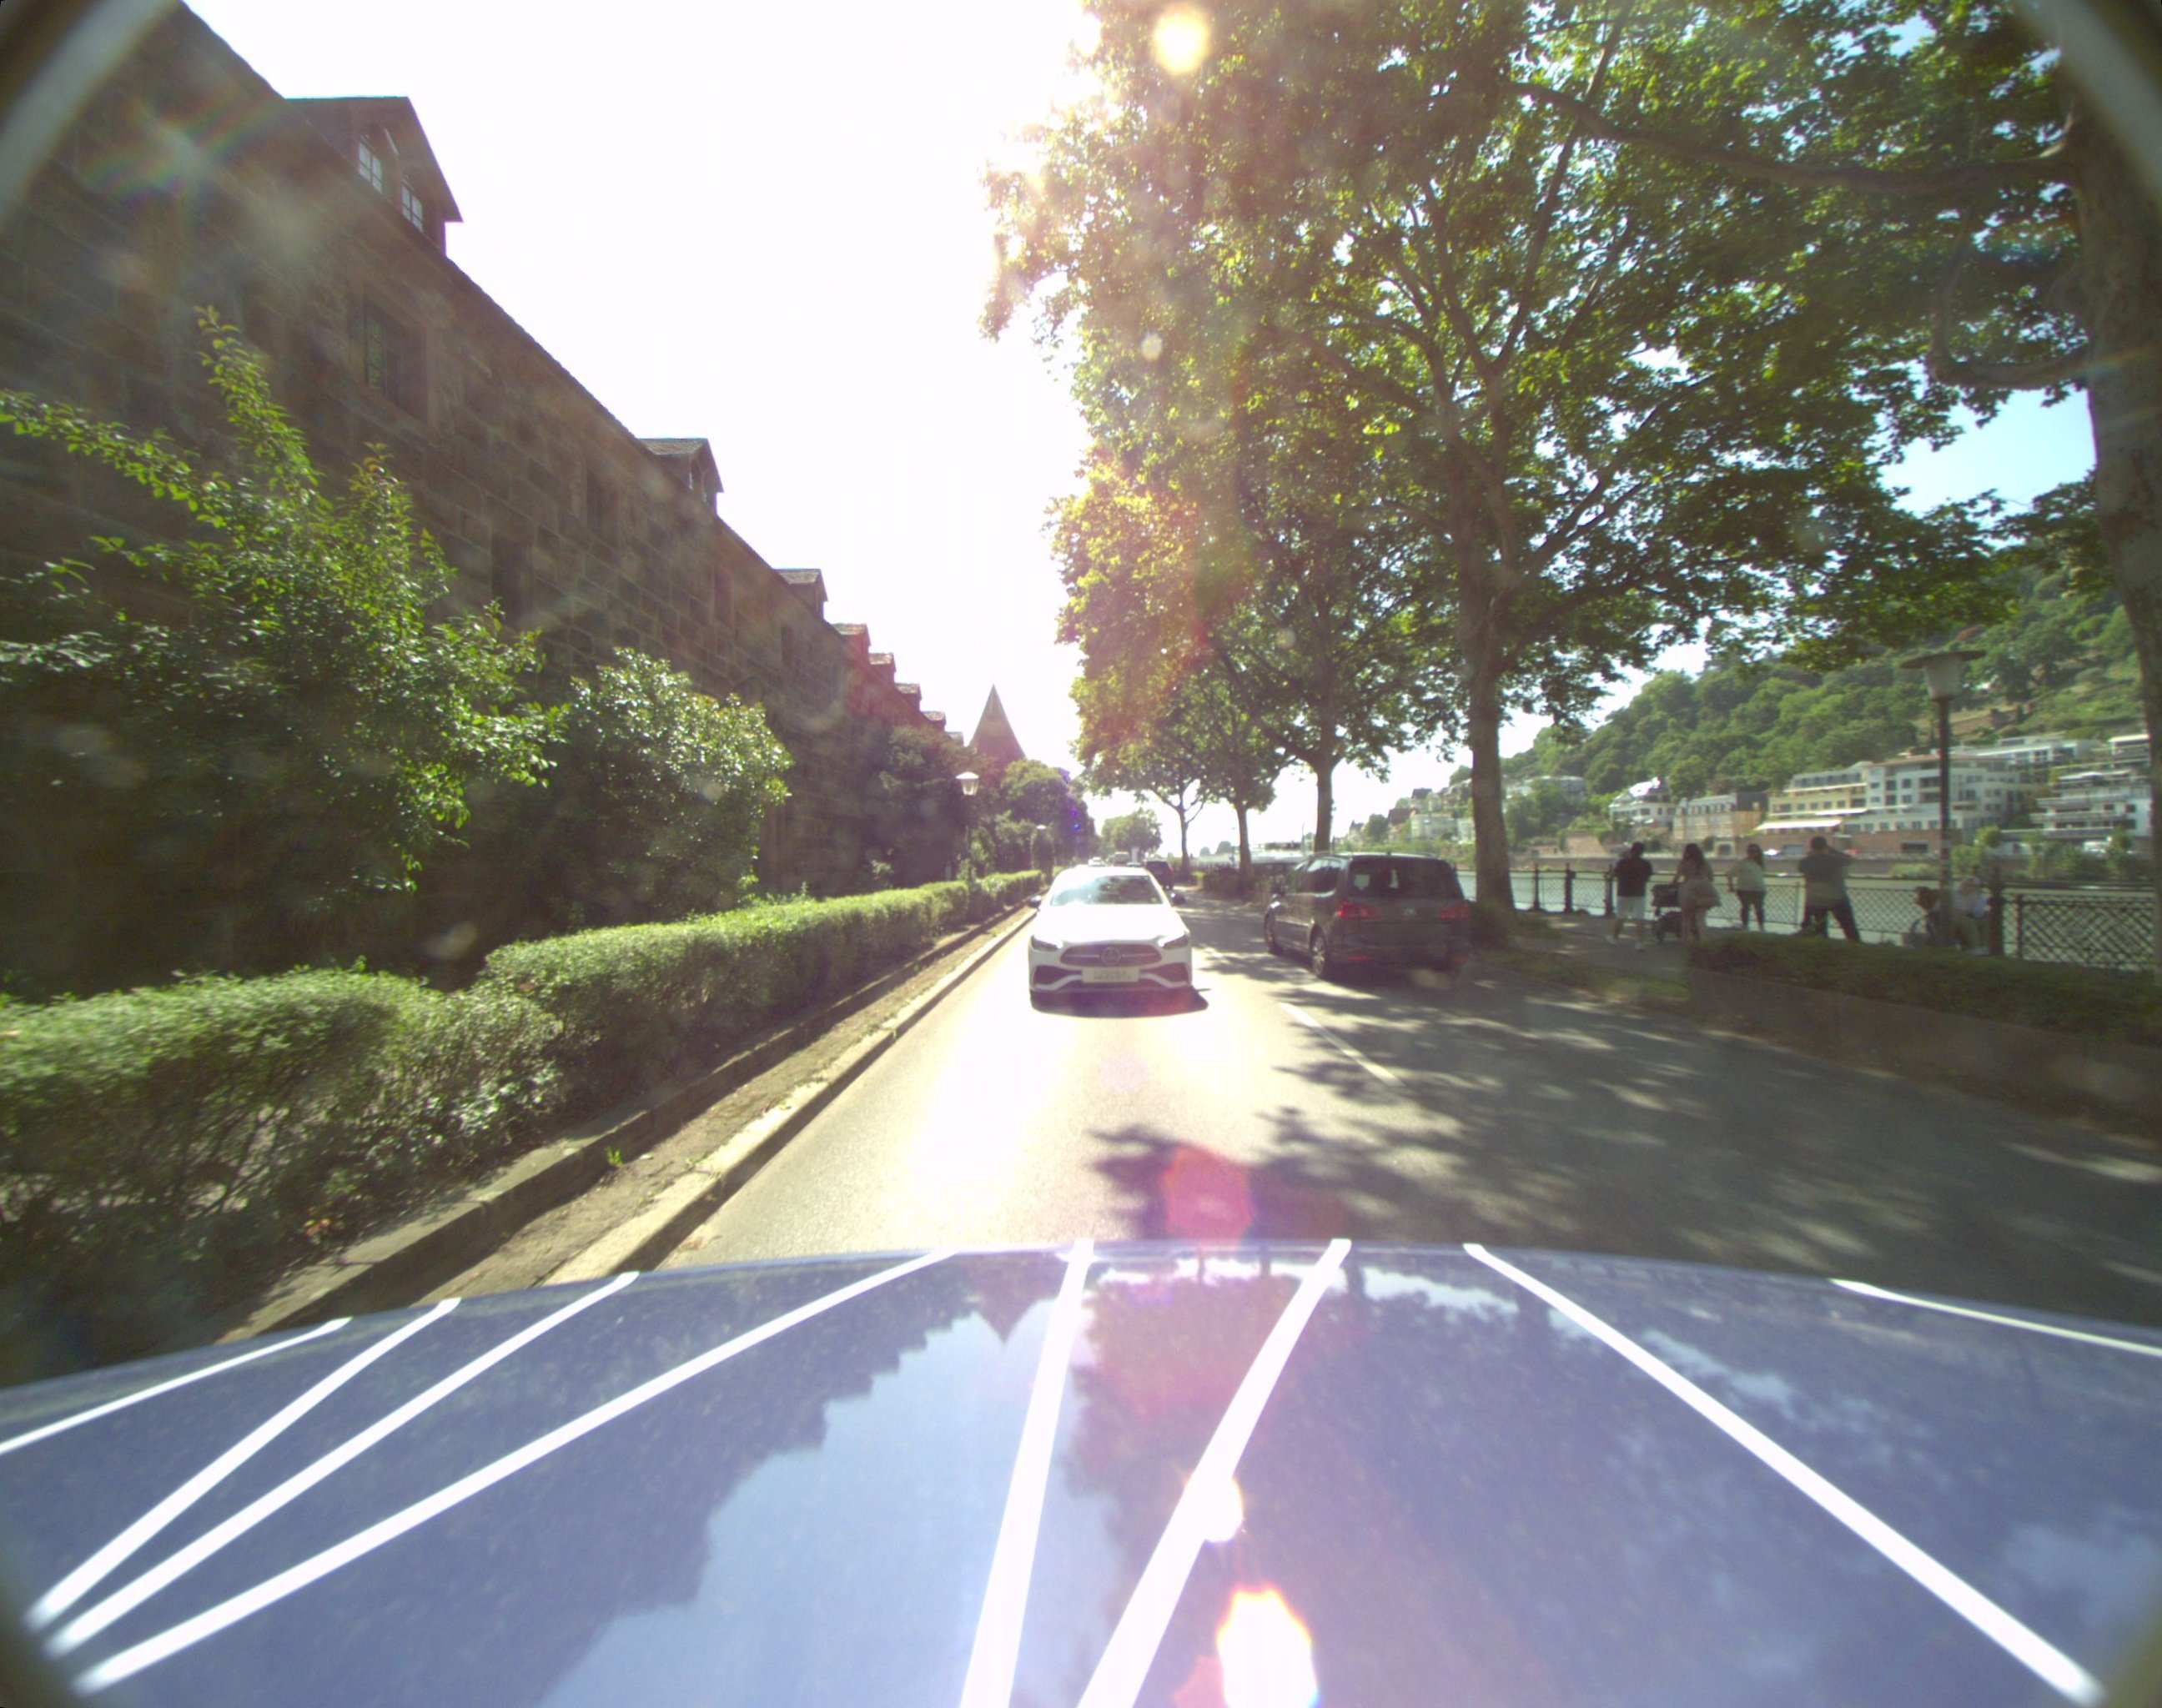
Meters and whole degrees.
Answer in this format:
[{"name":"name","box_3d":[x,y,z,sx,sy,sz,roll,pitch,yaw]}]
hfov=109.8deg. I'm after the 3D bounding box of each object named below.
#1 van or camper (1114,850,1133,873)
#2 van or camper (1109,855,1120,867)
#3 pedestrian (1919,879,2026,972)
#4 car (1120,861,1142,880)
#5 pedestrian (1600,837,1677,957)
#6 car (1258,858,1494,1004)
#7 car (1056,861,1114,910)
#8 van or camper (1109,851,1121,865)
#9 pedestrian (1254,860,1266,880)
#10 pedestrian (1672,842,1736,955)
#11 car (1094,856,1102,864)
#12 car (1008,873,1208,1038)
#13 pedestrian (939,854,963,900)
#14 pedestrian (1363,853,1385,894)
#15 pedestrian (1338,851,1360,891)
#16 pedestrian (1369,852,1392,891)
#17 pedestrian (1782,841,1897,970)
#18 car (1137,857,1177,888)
[{"name":"van or camper","box_3d":[4.923,0.874,89.525,1.965,2.552,5.841,1,0,1]},{"name":"van or camper","box_3d":[7.315,1.514,166.683,2.328,2.646,6.264,1,0,1]},{"name":"pedestrian","box_3d":[11.911,0.938,10.172,0.611,1.170,0.695,-1,0,2]},{"name":"car","box_3d":[4.255,1.397,65.315,1.653,1.460,3.780,-2,0,1]},{"name":"pedestrian","box_3d":[8.911,0.669,12.178,0.642,1.859,0.806,0,0,2]},{"name":"car","box_3d":[3.807,0.877,10.620,1.767,1.638,4.090,0,0,1]},{"name":"car","box_3d":[0.187,1.021,26.409,1.854,1.543,3.849,0,0,1]},{"name":"van or camper","box_3d":[6.772,0.792,151.784,2.328,2.646,6.264,1,0,1]},{"name":"pedestrian","box_3d":[11.896,1.073,50.502,0.704,1.300,0.656,0,0,2]},{"name":"pedestrian","box_3d":[9.905,0.692,12.098,0.518,1.758,0.592,0,0,2]},{"name":"car","box_3d":[4.335,1.540,196.431,1.923,1.975,4.000,0,0,-1]},{"name":"car","box_3d":[0.293,1.009,9.304,1.829,1.418,4.359,-2,0,1]},{"name":"pedestrian","box_3d":[-4.692,0.832,27.516,0.700,1.643,0.705,0,0,3]},{"name":"pedestrian","box_3d":[12.844,0.848,33.351,0.705,1.786,0.705,-1,1,3]},{"name":"pedestrian","box_3d":[11.725,0.752,33.266,0.705,1.721,0.705,-1,1,3]},{"name":"pedestrian","box_3d":[12.579,0.731,31.919,0.705,1.594,0.705,-1,1,3]},{"name":"pedestrian","box_3d":[10.655,0.700,10.708,0.695,1.707,0.874,-3,1,0]},{"name":"car","box_3d":[4.261,1.009,43.166,1.881,1.688,4.258,0,0,0]}]
